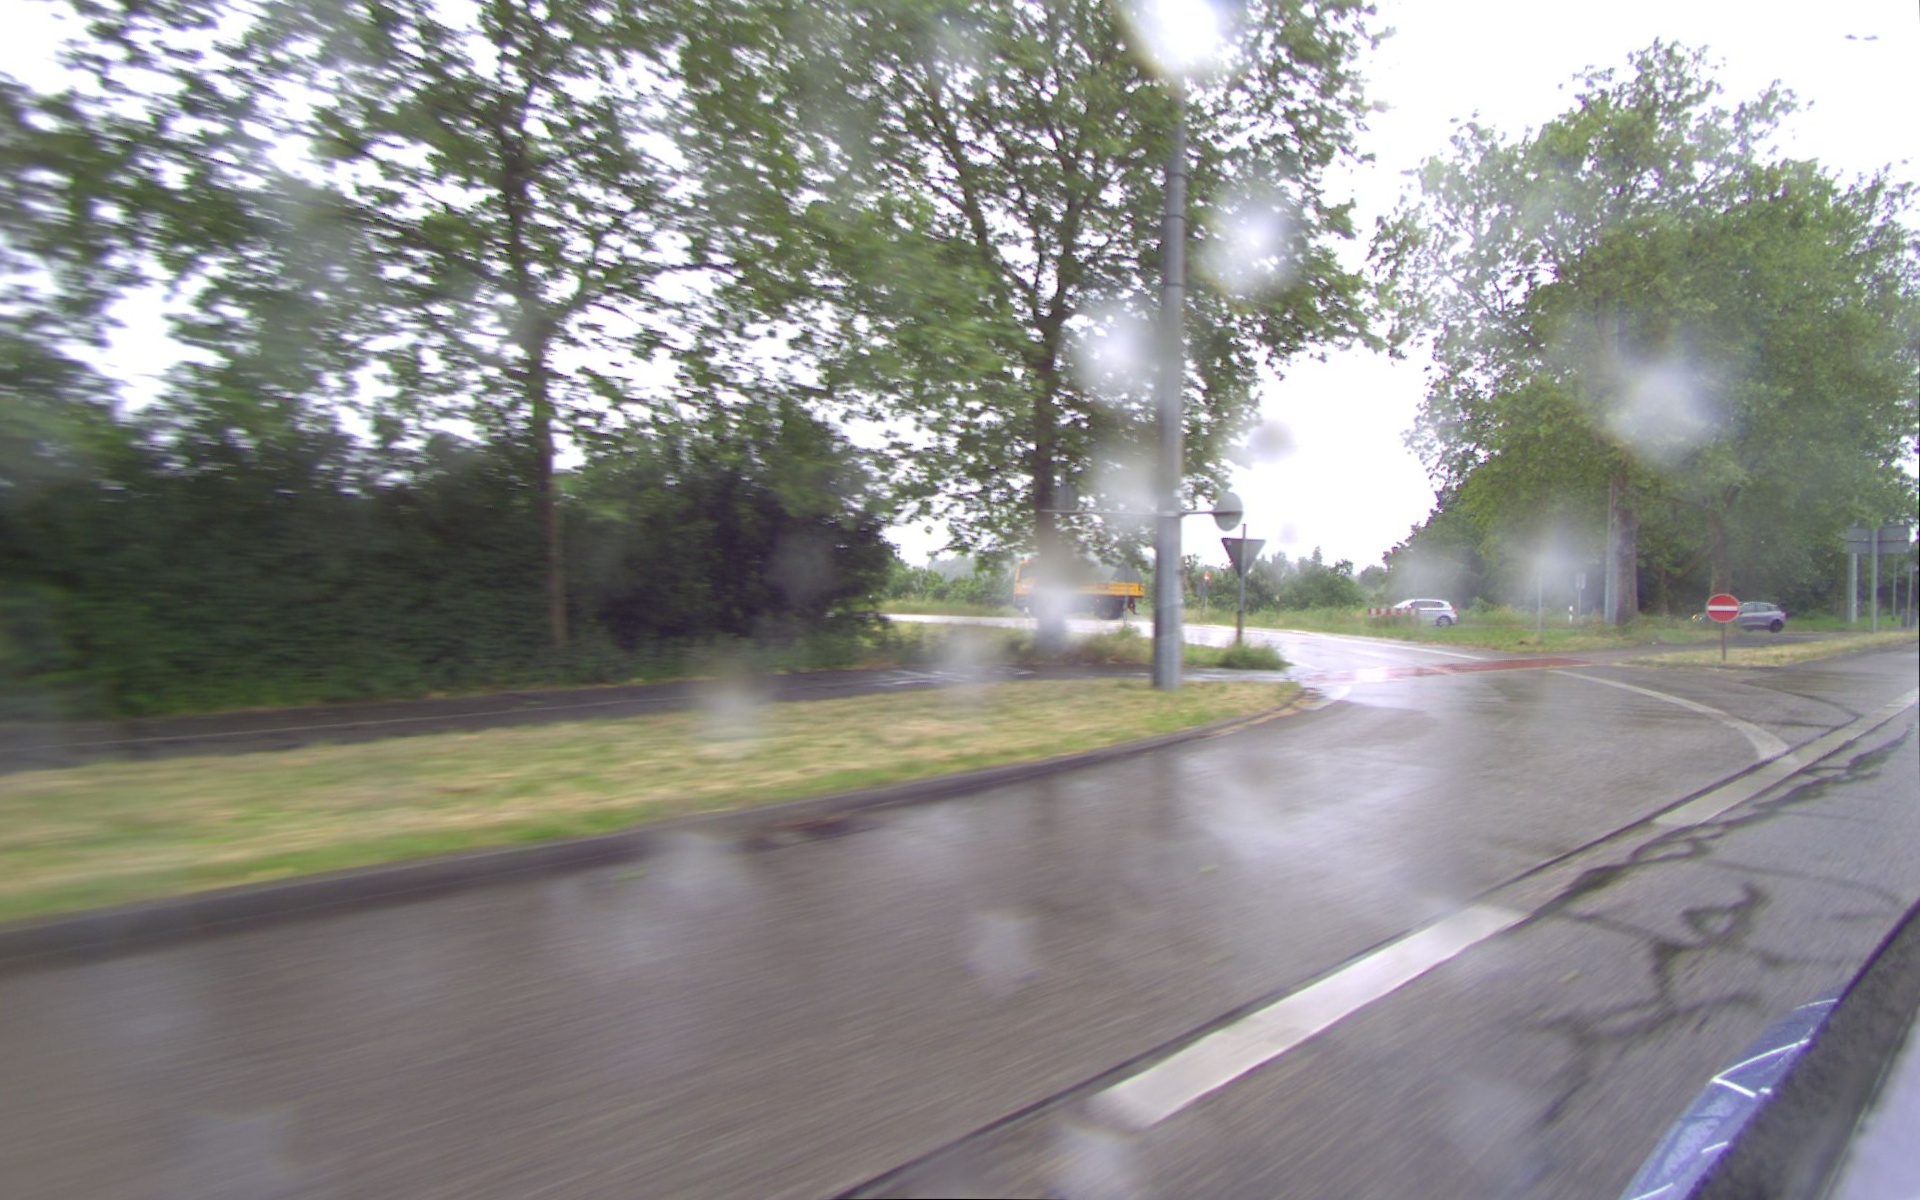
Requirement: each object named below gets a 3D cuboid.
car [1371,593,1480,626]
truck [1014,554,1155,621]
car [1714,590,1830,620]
[{"bbox_3d":[22.612,0.441,49.259,4.531,1.522,1.627,1,-1,10],"label":"car"},{"bbox_3d":[6.480,-0.626,52.592,6.851,3.299,2.545,1,-1,22],"label":"truck"},{"bbox_3d":[39.425,0.266,49.182,4.192,1.374,1.895,1,-1,-4],"label":"car"}]
